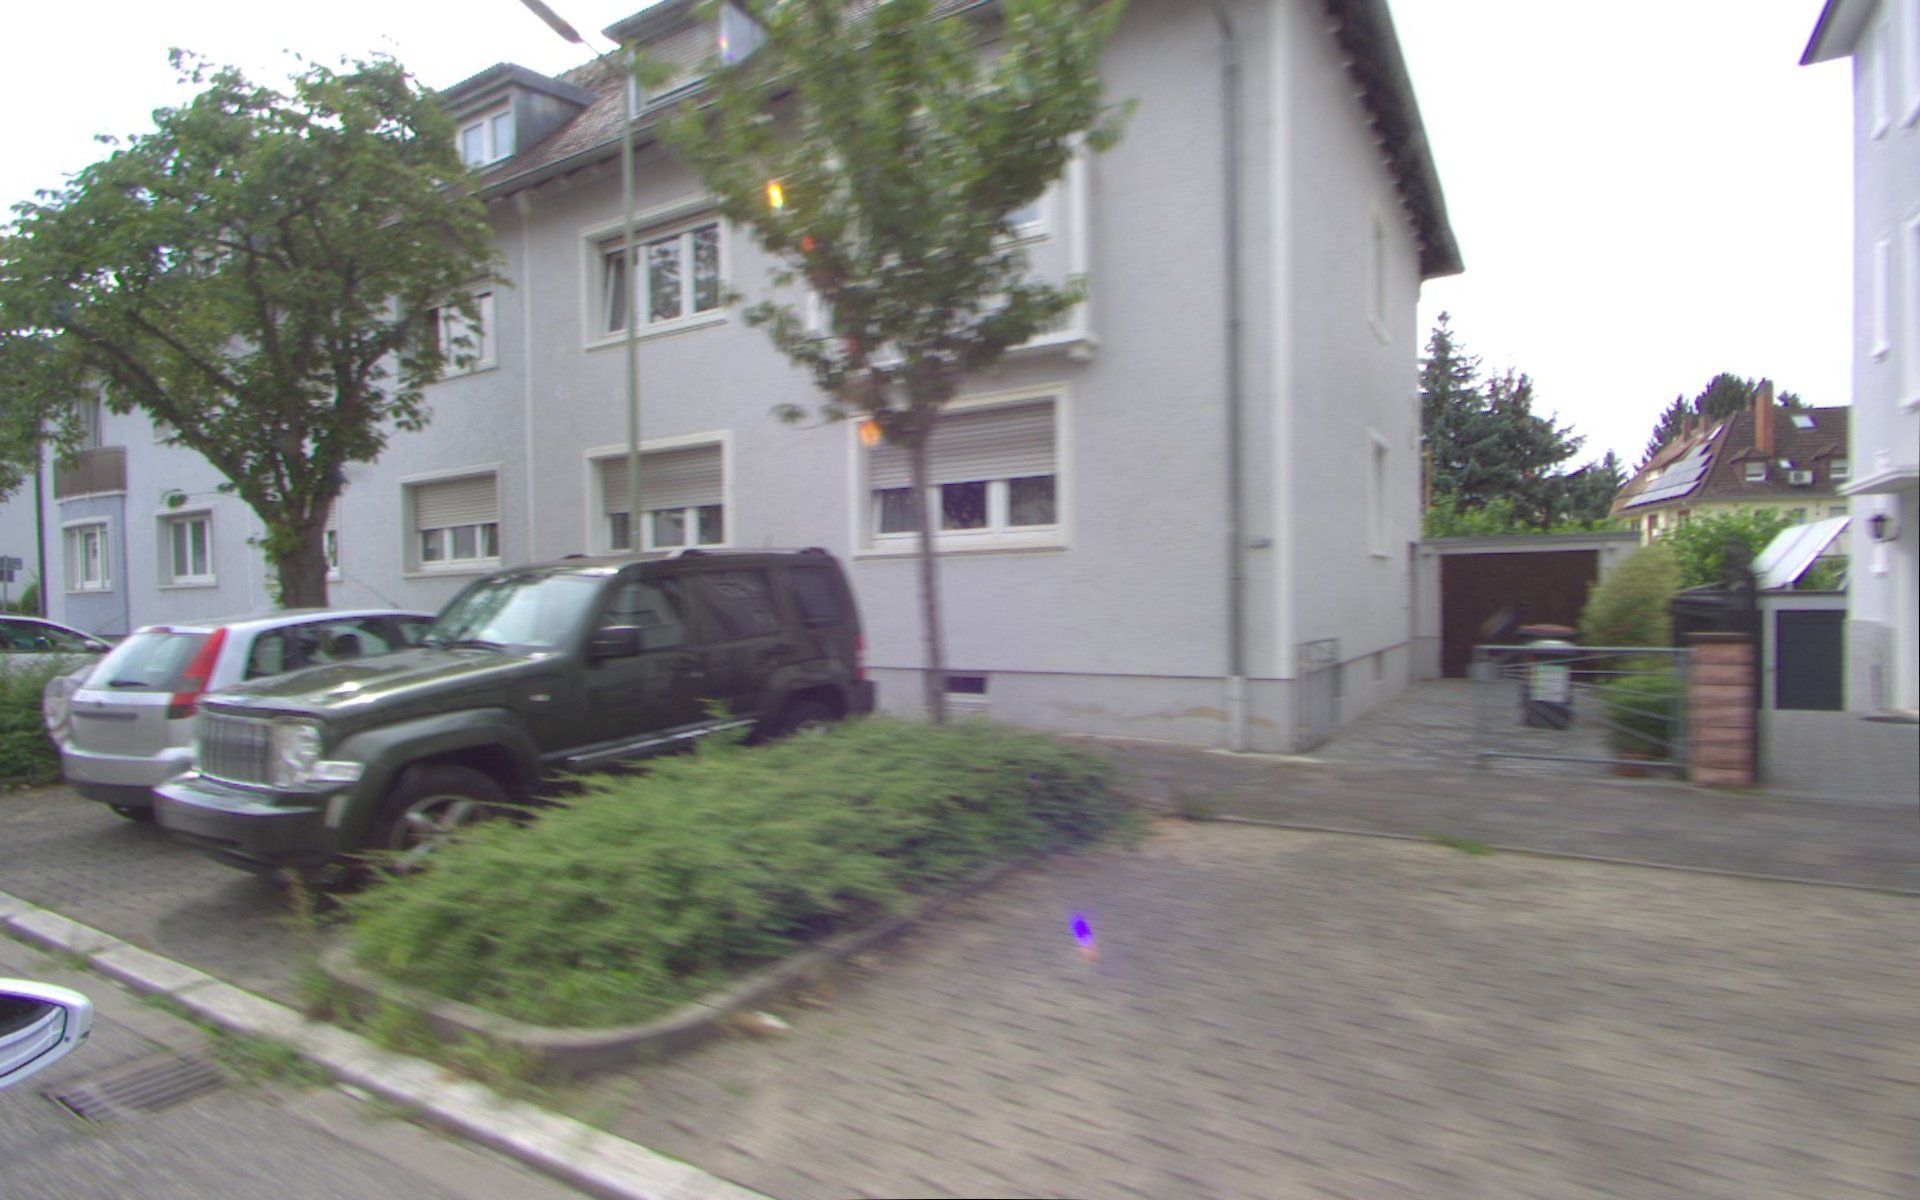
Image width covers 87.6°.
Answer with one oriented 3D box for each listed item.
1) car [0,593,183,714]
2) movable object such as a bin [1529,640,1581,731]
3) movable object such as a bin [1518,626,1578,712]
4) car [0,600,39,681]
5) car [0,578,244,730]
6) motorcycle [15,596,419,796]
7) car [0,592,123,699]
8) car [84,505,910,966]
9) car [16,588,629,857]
[{"bbox_3d":[-13.329,0.745,13.613,1.687,1.529,3.977,-1,2,31],"label":"car"},{"bbox_3d":[6.390,0.907,10.759,0.473,0.912,0.512,0,2,32],"label":"movable object such as a bin"},{"bbox_3d":[7.357,0.845,12.528,0.599,1.023,0.511,0,2,37],"label":"movable object such as a bin"},{"bbox_3d":[-18.929,0.814,17.383,1.687,1.441,3.977,-1,2,31],"label":"car"},{"bbox_3d":[-11.710,0.646,12.071,1.865,1.687,4.602,0,2,32],"label":"car"},{"bbox_3d":[-6.408,0.715,8.898,1.015,1.483,2.698,0,0,27],"label":"motorcycle"},{"bbox_3d":[-15.210,0.729,14.800,1.687,1.529,3.977,-1,2,31],"label":"car"},{"bbox_3d":[-2.390,0.479,6.437,1.768,1.883,4.511,0,2,34],"label":"car"},{"bbox_3d":[-4.615,0.710,7.839,1.745,1.474,3.620,-1,2,27],"label":"car"}]
